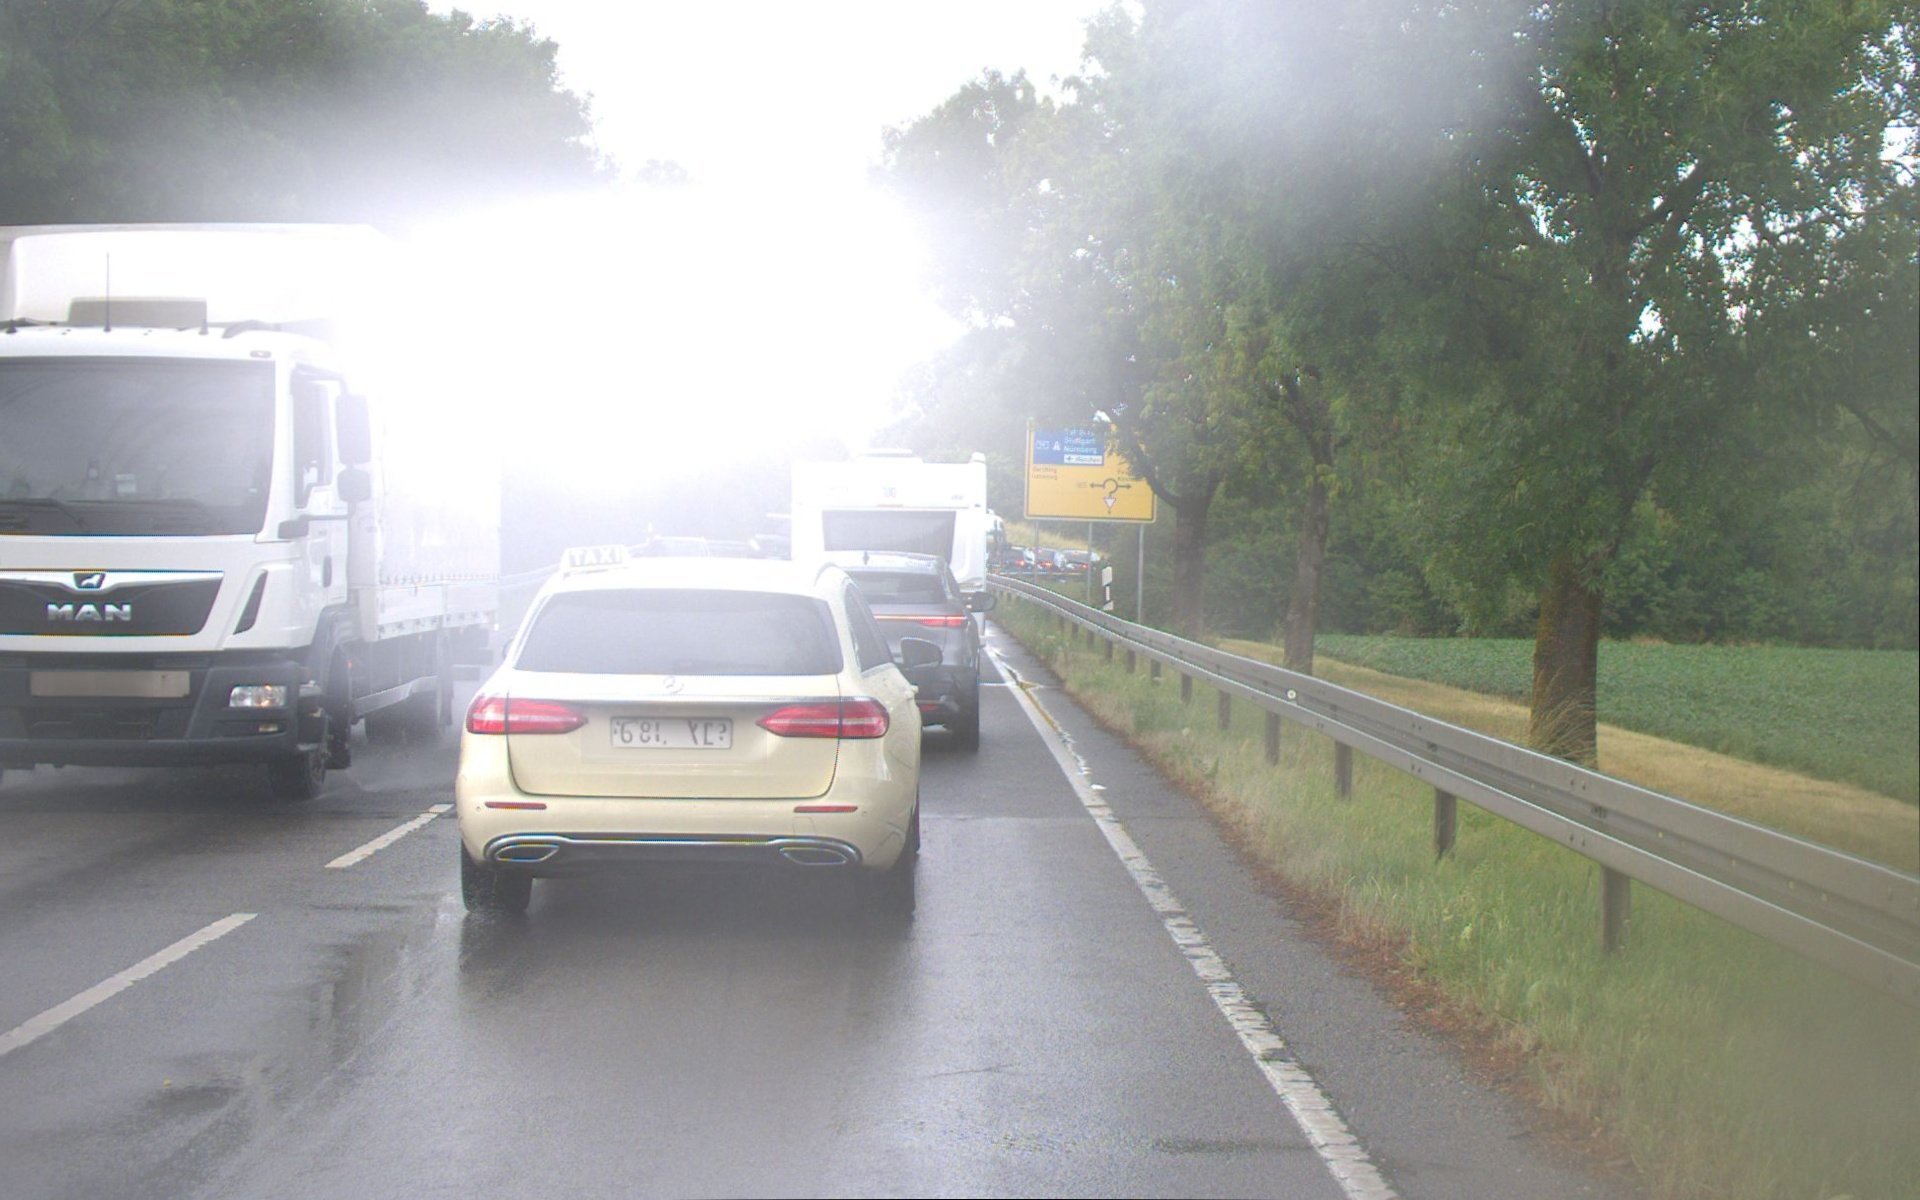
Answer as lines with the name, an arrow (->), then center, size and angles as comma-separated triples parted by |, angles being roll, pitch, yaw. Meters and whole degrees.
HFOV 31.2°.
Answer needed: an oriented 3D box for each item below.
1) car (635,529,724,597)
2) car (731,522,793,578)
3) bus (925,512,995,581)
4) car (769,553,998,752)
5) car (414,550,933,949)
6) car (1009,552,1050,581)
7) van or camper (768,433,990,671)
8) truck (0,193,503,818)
car -> -6.195, -0.833, 76.264 | 1.714, 1.446, 4.111 | 1, 1, -1
car -> -6.446, -1.635, 112.210 | 1.828, 1.796, 4.415 | 0, 1, -1
bus -> -0.022, -1.580, 101.792 | 1.993, 2.007, 4.000 | 0, 1, -1
car -> -0.538, 0.353, 27.077 | 1.664, 1.426, 4.000 | 0, 1, 1
car -> -1.087, 0.529, 14.846 | 1.865, 1.471, 4.000 | 0, 1, 1
car -> 2.707, -1.311, 135.186 | 1.551, 1.114, 4.000 | 1, 0, 0
van or camper -> -0.898, -0.599, 42.103 | 2.489, 2.676, 5.700 | 1, 1, 1
truck -> -4.941, -0.609, 23.717 | 2.576, 3.440, 9.557 | 0, 1, -2
